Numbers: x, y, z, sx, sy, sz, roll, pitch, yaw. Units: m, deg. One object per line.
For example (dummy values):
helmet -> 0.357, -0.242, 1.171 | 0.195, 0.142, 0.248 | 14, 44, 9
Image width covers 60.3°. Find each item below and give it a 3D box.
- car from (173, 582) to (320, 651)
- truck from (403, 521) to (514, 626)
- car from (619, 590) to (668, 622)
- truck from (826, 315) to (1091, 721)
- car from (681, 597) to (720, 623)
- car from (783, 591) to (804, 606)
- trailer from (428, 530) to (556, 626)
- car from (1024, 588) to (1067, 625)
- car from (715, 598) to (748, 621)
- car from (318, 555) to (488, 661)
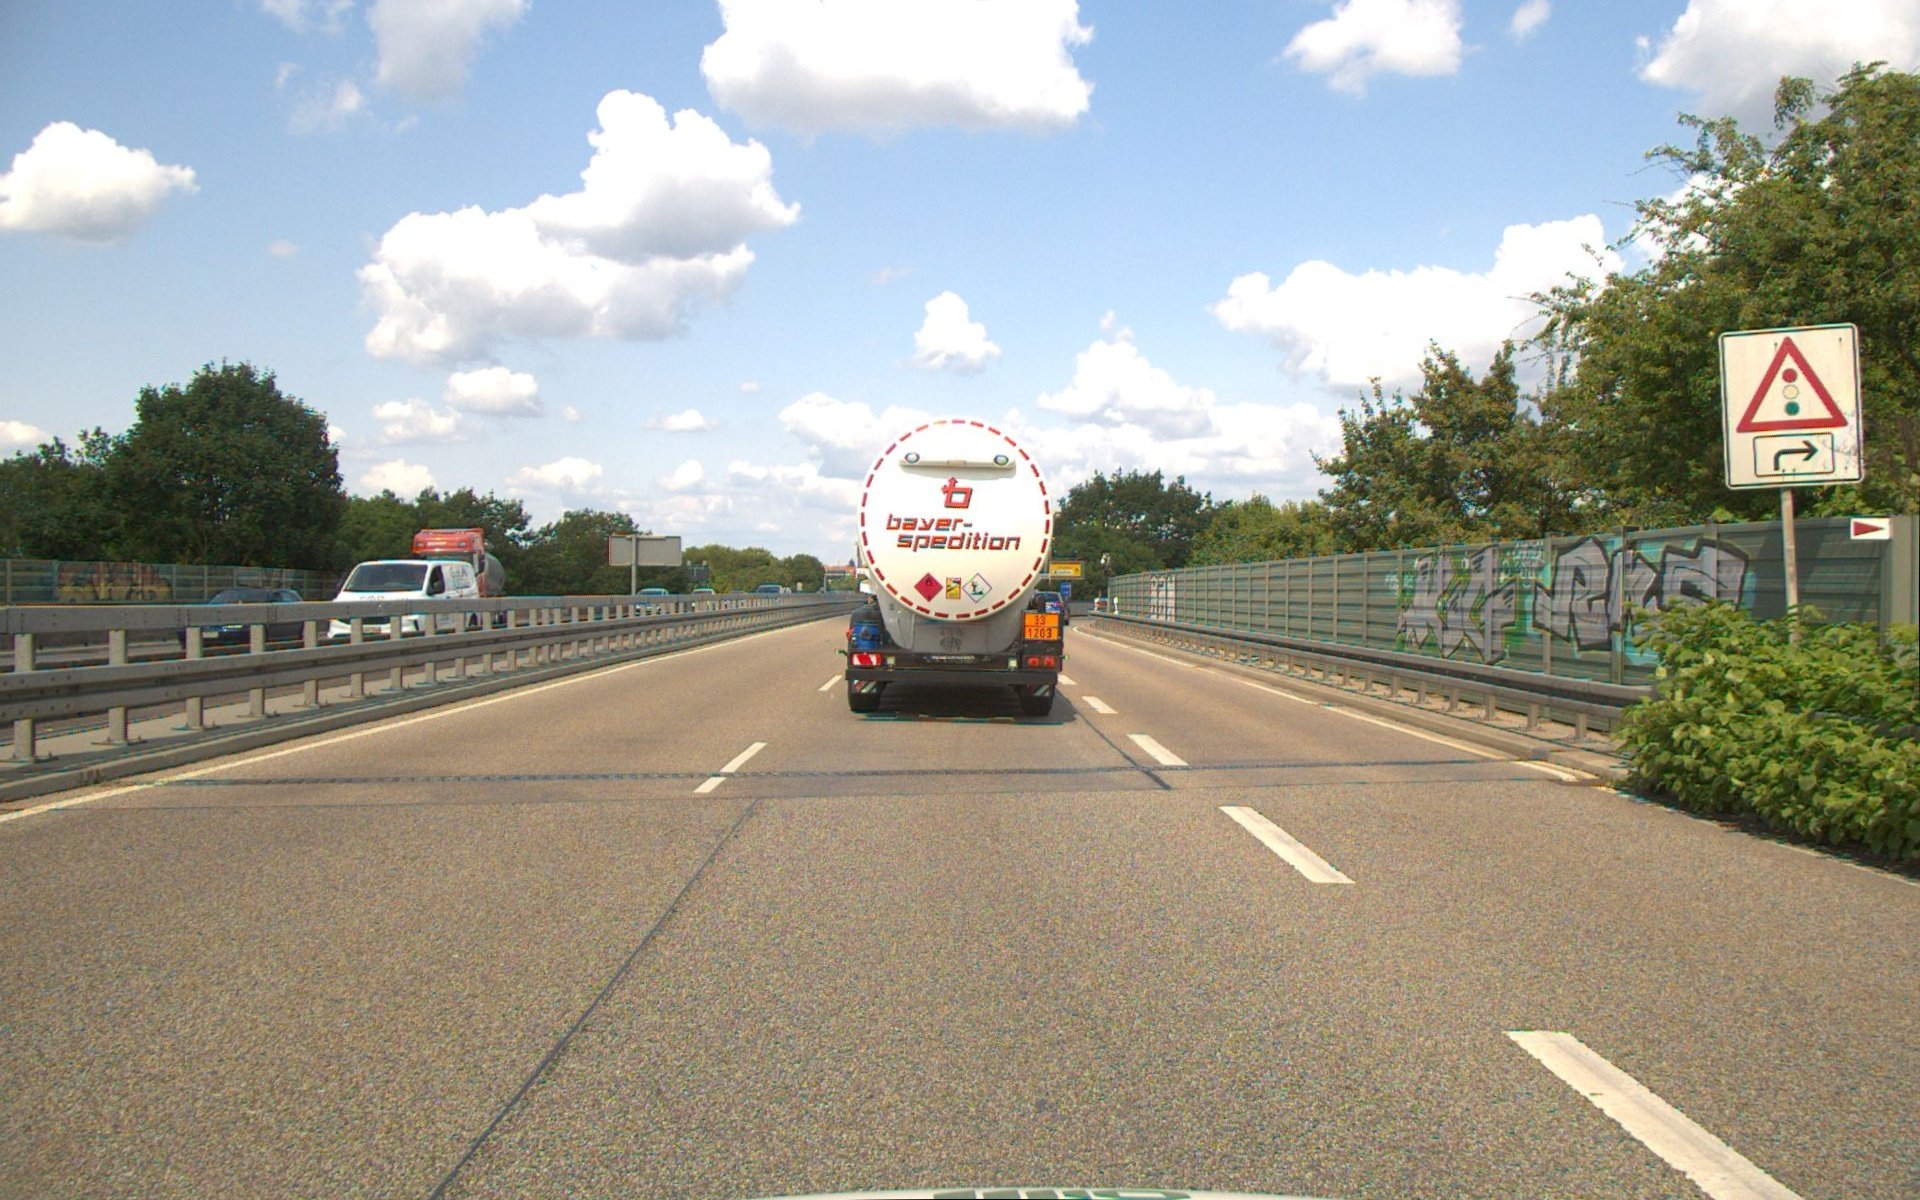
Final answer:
car -> -16.296, 0.352, 38.005 | 1.655, 1.456, 4.400 | 2, 0, -3
truck -> -19.513, -0.987, 64.761 | 2.595, 3.848, 6.229 | 2, 0, -3
car -> -16.255, 0.288, 85.034 | 1.746, 1.535, 3.959 | 2, 0, -1
truck -> -0.085, -0.915, 22.477 | 2.836, 4.445, 8.027 | 2, 0, -1
car -> -16.504, 0.637, 105.317 | 1.885, 1.601, 3.885 | 2, 0, -2
car -> -17.654, -0.133, 175.371 | 1.885, 1.601, 3.885 | -1, 0, -2
trailer -> -19.818, -0.873, 70.745 | 2.630, 3.734, 11.023 | 2, 0, -2
car -> 4.282, 0.341, 82.291 | 1.951, 1.736, 4.002 | 2, 0, 5
car -> -16.316, 0.678, 118.084 | 1.885, 1.601, 4.243 | -1, 0, -2
car -> -11.707, 0.152, 35.174 | 2.038, 2.024, 5.226 | 2, 0, -3
